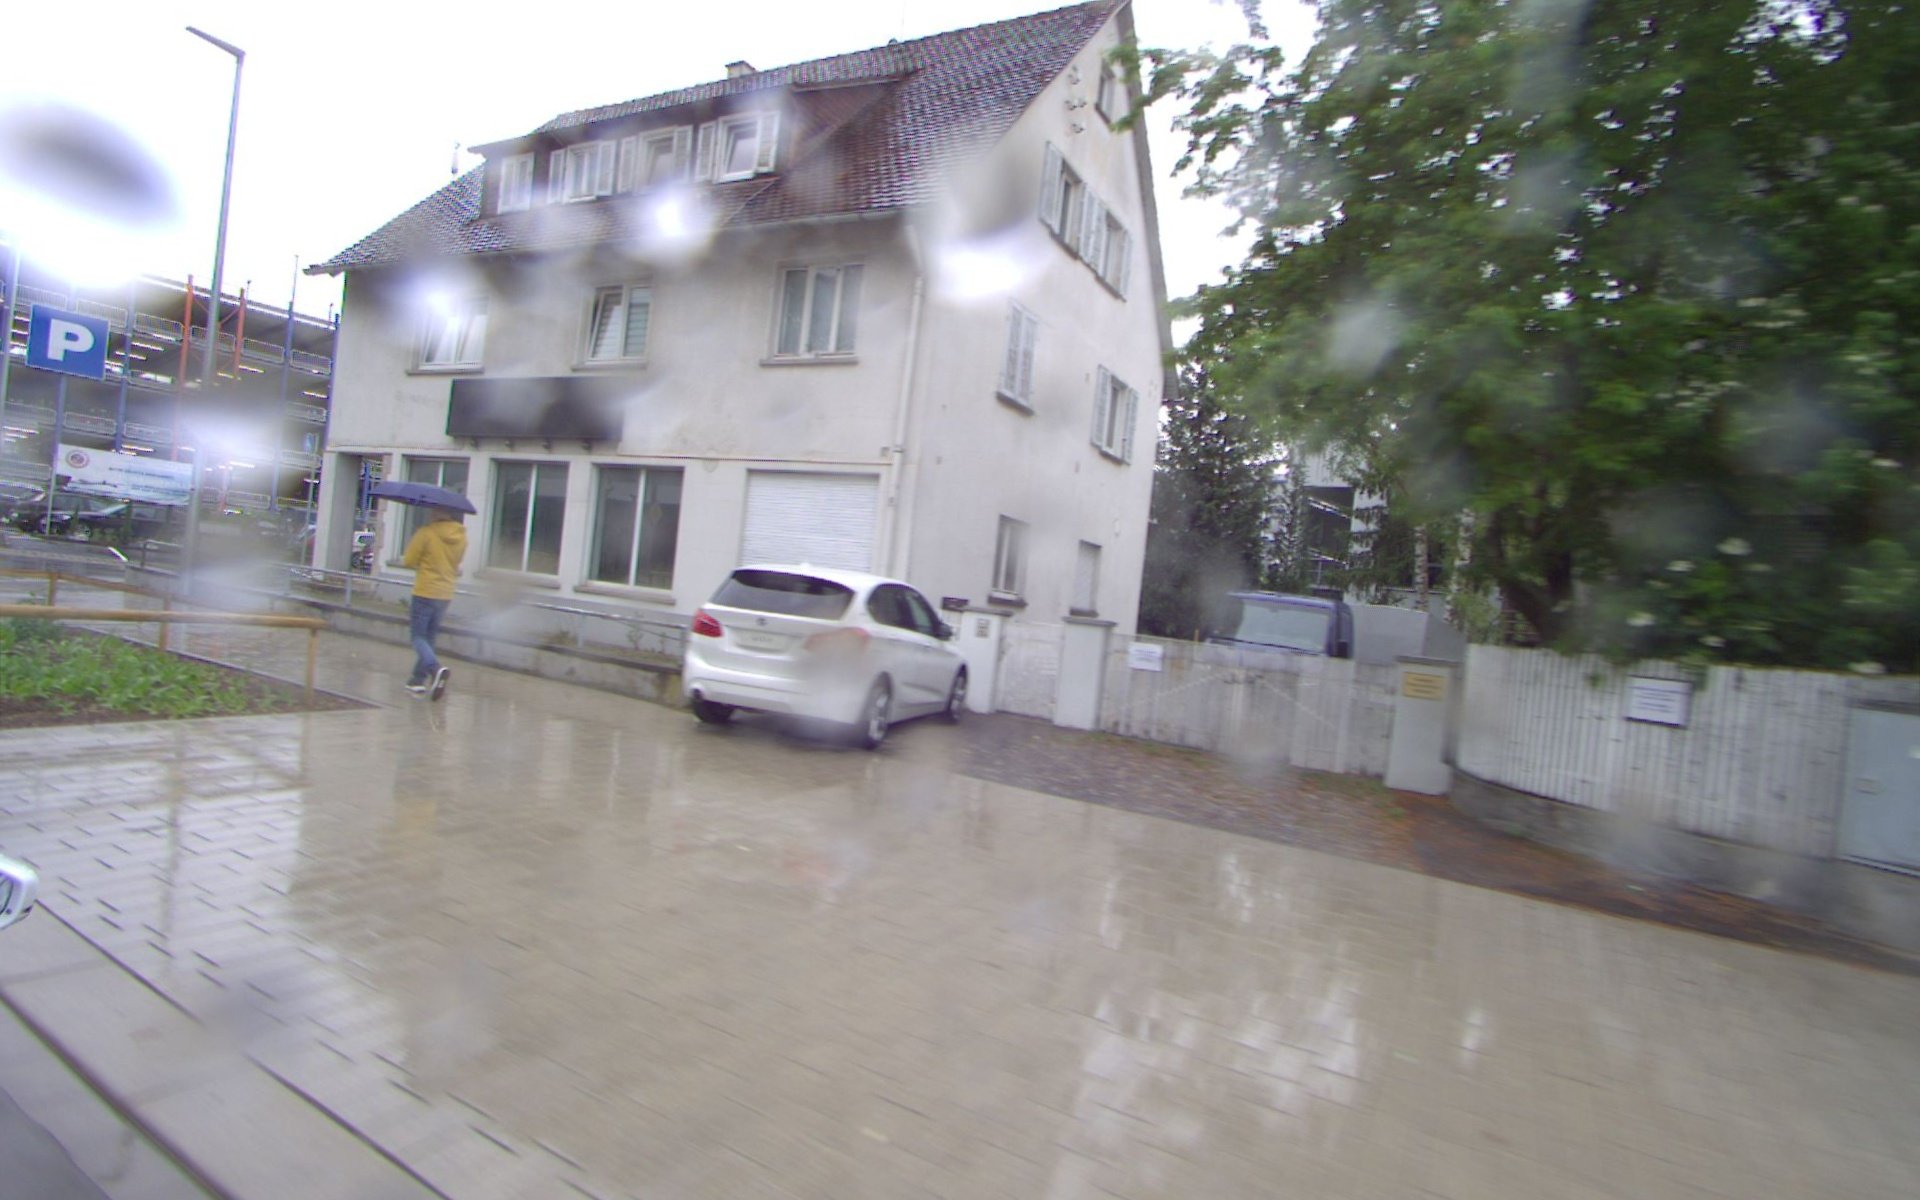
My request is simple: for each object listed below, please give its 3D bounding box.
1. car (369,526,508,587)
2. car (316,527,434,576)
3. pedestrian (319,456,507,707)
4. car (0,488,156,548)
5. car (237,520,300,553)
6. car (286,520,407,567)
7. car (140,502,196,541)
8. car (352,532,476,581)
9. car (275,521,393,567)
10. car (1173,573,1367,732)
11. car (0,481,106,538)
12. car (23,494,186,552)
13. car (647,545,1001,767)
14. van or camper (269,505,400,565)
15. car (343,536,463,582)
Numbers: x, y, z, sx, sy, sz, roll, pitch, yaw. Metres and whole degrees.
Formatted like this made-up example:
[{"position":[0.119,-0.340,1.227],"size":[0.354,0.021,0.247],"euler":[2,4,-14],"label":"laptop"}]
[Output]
[{"position":[-20.728,-1.705,40.089],"size":[4.461,1.852,1.870],"euler":[6,1,-44],"label":"car"},{"position":[-26.168,-2.157,45.127],"size":[1.838,1.688,4.122],"euler":[7,1,39],"label":"car"},{"position":[-4.867,-0.177,8.957],"size":[1.174,2.040,0.859],"euler":[7,3,29],"label":"pedestrian"},{"position":[-30.514,-2.814,34.823],"size":[1.700,1.467,3.734],"euler":[7,0,27],"label":"car"},{"position":[-39.474,-3.636,57.406],"size":[3.946,1.501,1.892],"euler":[4,-6,41],"label":"car"},{"position":[-28.307,-2.594,46.551],"size":[1.838,1.603,4.350],"euler":[7,1,39],"label":"car"},{"position":[-42.745,-4.259,54.273],"size":[3.945,1.700,1.726],"euler":[7,1,43],"label":"car"},{"position":[-22.721,-1.790,41.952],"size":[1.841,1.516,4.115],"euler":[7,1,45],"label":"car"},{"position":[-29.851,-2.646,48.082],"size":[1.838,1.603,4.350],"euler":[7,1,39],"label":"car"},{"position":[5.317,0.813,16.735],"size":[2.084,2.047,4.848],"euler":[7,1,27],"label":"car"},{"position":[-34.814,-3.455,37.307],"size":[1.813,1.672,4.364],"euler":[7,0,28],"label":"car"},{"position":[-28.513,-2.534,33.638],"size":[1.663,1.331,3.734],"euler":[7,0,27],"label":"car"},{"position":[-1.102,0.471,10.366],"size":[1.962,1.601,4.141],"euler":[7,1,16],"label":"car"},{"position":[-31.089,-3.198,50.122],"size":[2.189,2.355,4.951],"euler":[7,1,38],"label":"van or camper"},{"position":[-24.282,-1.760,43.968],"size":[1.838,1.516,4.122],"euler":[7,1,39],"label":"car"}]
